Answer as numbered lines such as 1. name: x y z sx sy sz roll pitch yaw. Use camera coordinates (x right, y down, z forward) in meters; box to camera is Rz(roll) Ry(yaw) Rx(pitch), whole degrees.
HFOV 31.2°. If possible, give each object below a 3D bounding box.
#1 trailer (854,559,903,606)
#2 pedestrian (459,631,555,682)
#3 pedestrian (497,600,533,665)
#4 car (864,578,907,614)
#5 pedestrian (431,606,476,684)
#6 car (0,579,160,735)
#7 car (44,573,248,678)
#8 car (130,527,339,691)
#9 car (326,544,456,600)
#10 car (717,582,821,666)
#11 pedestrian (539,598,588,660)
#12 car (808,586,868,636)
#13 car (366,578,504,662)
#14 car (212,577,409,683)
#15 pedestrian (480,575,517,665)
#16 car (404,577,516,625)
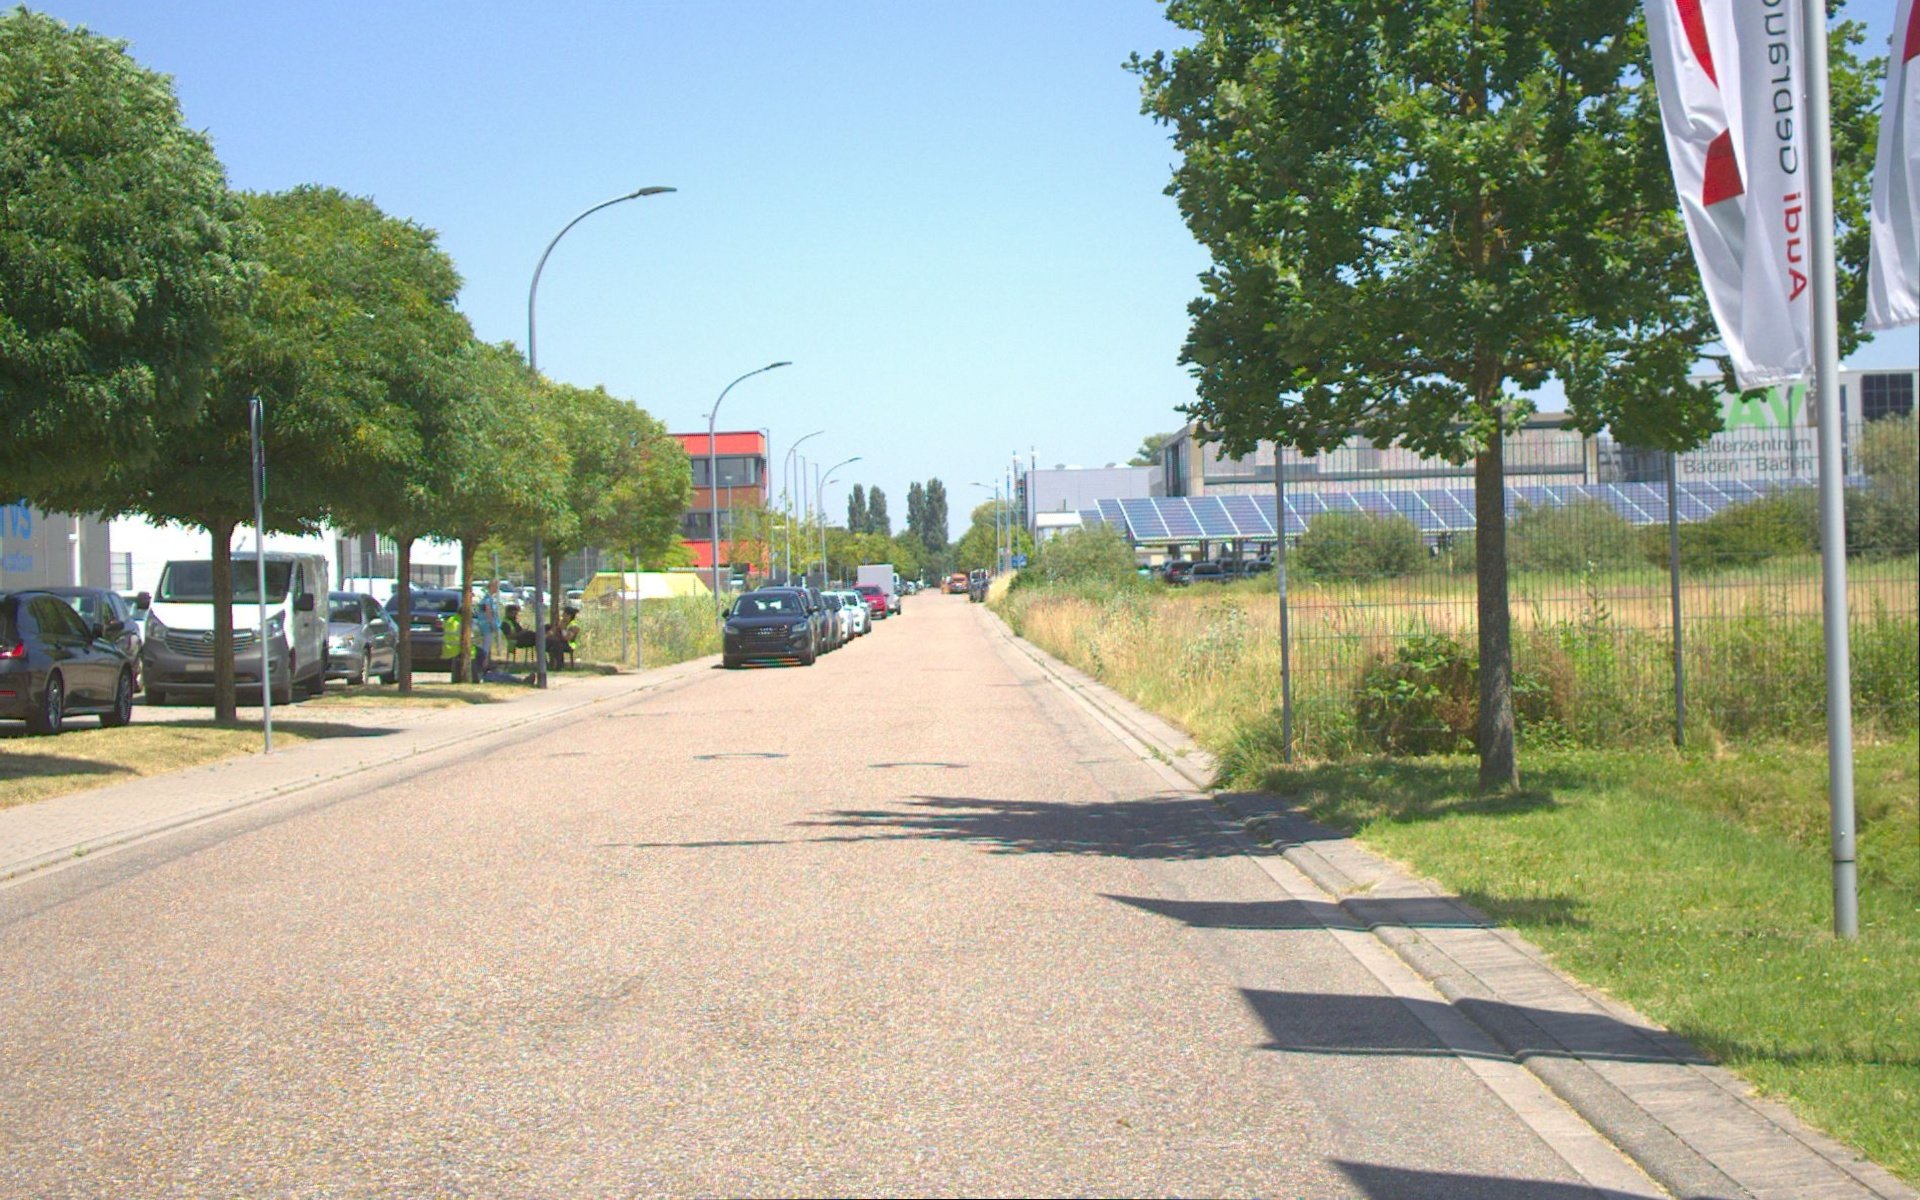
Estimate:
1. trailer: -3.867 -0.820 163.830 2.201 2.130 4.285 -2 0 0
2. pedestrian: -7.009 0.875 53.260 1.358 0.746 0.753 1 0 2
3. pedestrian: -8.200 0.592 63.391 0.506 1.187 0.753 1 0 2
4. car: -3.288 -0.197 152.685 1.787 1.515 3.982 -2 0 0
5. pedestrian: -7.620 0.681 51.770 0.479 1.146 0.555 1 -2 10
6. car: -9.550 0.539 34.808 1.765 1.448 4.714 -1 1 0
7. car: -12.102 0.345 51.403 1.927 1.459 4.465 1 1 1
8. car: -9.543 0.090 45.598 1.837 2.012 5.126 -1 0 -2
9. car: -21.602 -1.054 130.593 4.528 1.936 2.031 -2 0 1
10. car: -3.843 0.467 69.831 1.926 1.562 4.190 -2 1 -1
11. pedestrian: -7.177 0.529 62.174 0.750 1.095 0.646 1 0 4
12. car: -4.004 0.350 112.904 1.787 1.515 3.982 -2 1 0
13. car: -9.711 0.345 63.854 1.926 1.459 4.692 1 1 -1
14. car: -9.593 0.460 51.142 1.927 1.436 4.841 -2 -1 1
15. pedestrian: -8.319 0.360 61.951 0.506 1.590 0.753 1 0 2
16. car: -21.886 0.037 150.496 4.528 1.936 2.031 -2 0 1
